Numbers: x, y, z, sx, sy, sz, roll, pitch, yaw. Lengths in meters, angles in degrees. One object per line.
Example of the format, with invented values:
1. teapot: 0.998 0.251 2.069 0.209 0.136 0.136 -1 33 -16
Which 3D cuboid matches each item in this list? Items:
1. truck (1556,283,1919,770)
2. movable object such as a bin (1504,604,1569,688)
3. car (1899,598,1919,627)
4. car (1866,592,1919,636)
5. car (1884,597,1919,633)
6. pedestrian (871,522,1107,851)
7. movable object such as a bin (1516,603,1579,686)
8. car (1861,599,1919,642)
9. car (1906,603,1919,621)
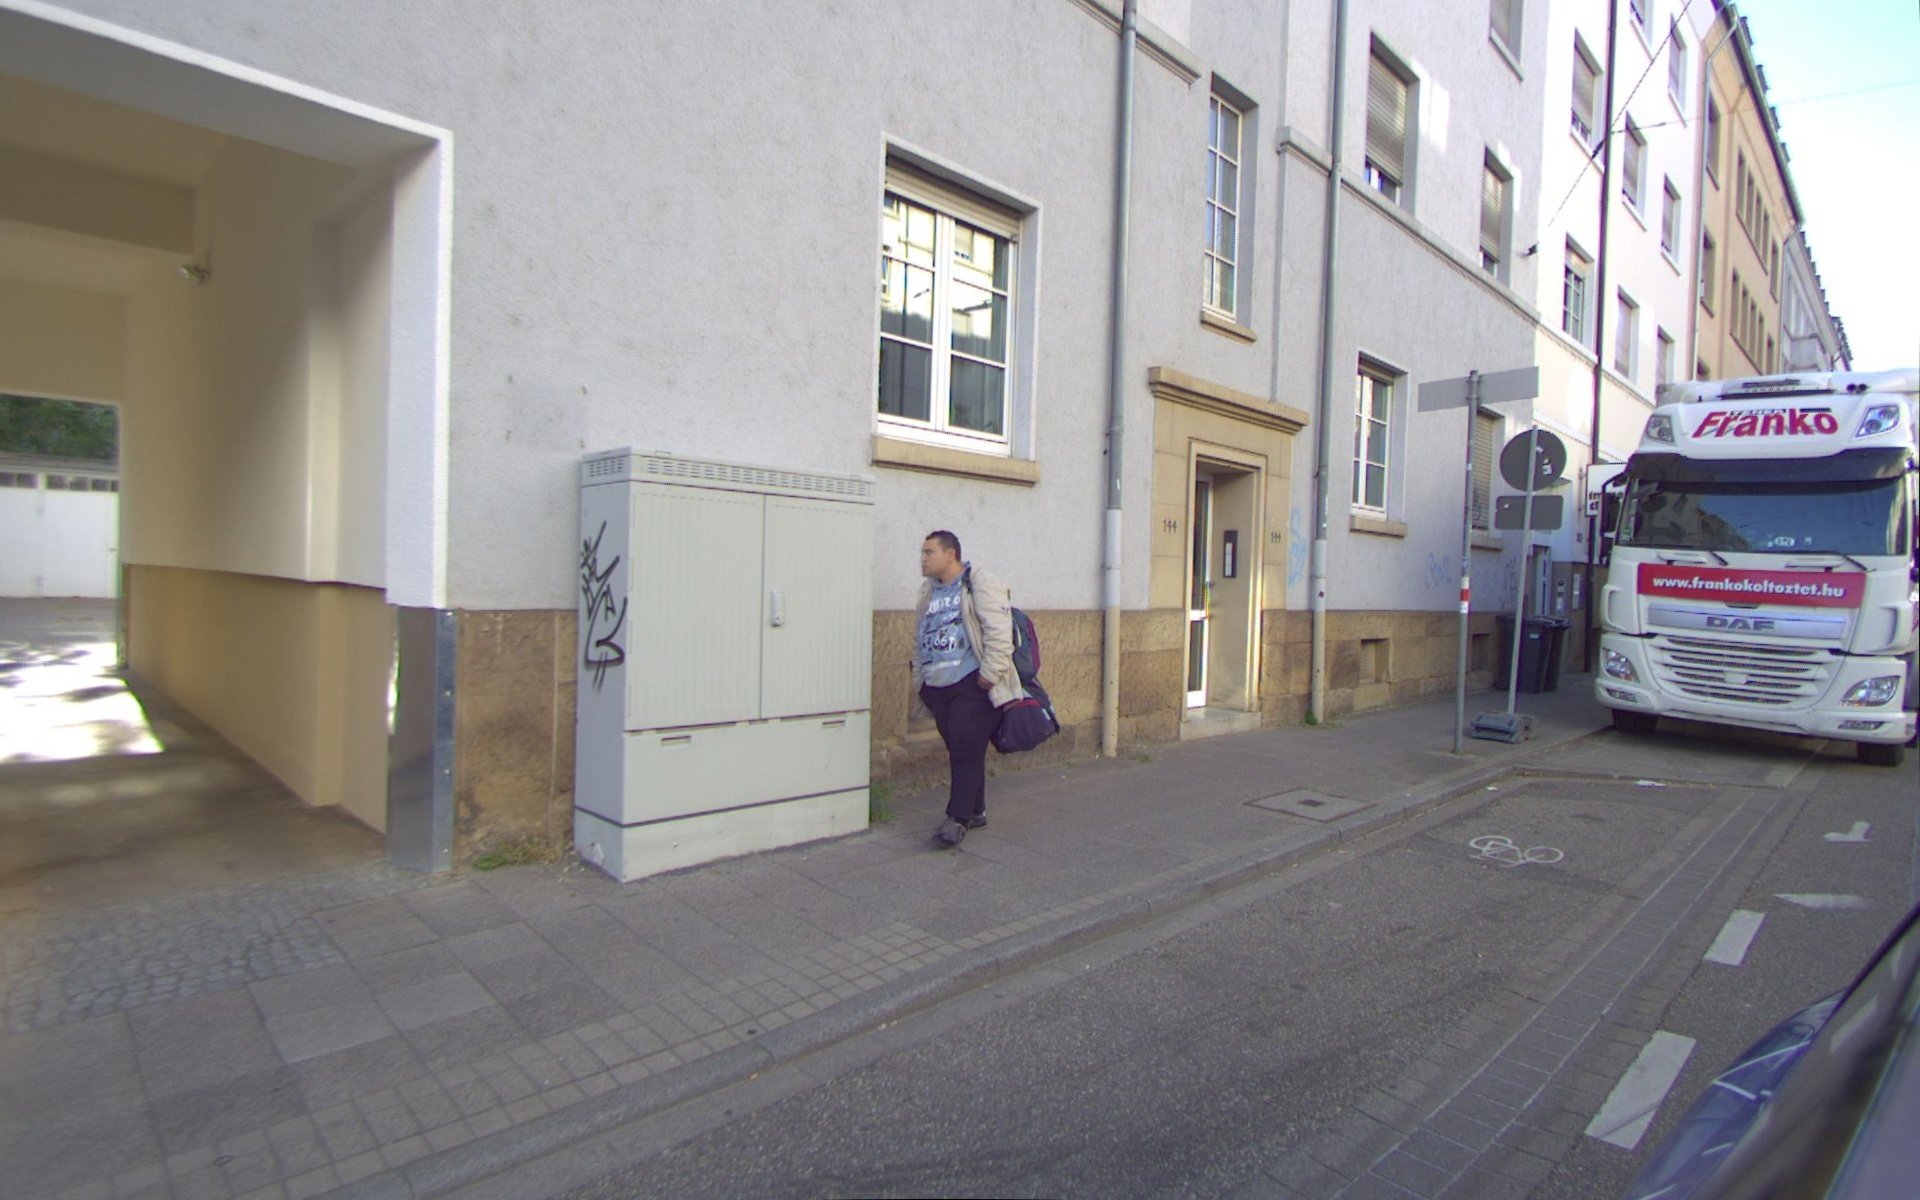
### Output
1. truck: 11.410 -0.651 13.513 11.583 4.124 2.863 1 2 -44
2. movable object such as a bin: 8.001 0.622 14.054 0.658 1.118 0.533 2 1 43
3. car: 56.327 0.754 59.353 1.700 1.610 3.897 3 2 45
4. car: 40.429 0.563 43.660 1.710 1.714 4.516 4 3 44
5. car: 48.801 0.751 51.872 4.116 1.719 1.701 1 3 -43
6. pedestrian: 0.149 0.395 5.393 0.855 1.553 0.826 1 3 -44
7. movable object such as a bin: 8.402 0.620 14.478 0.658 1.118 0.533 2 1 43
8. car: 36.196 0.779 39.086 4.135 1.470 1.702 1 3 -44
9. car: 77.241 0.997 81.051 3.666 1.437 1.995 0 2 -45
